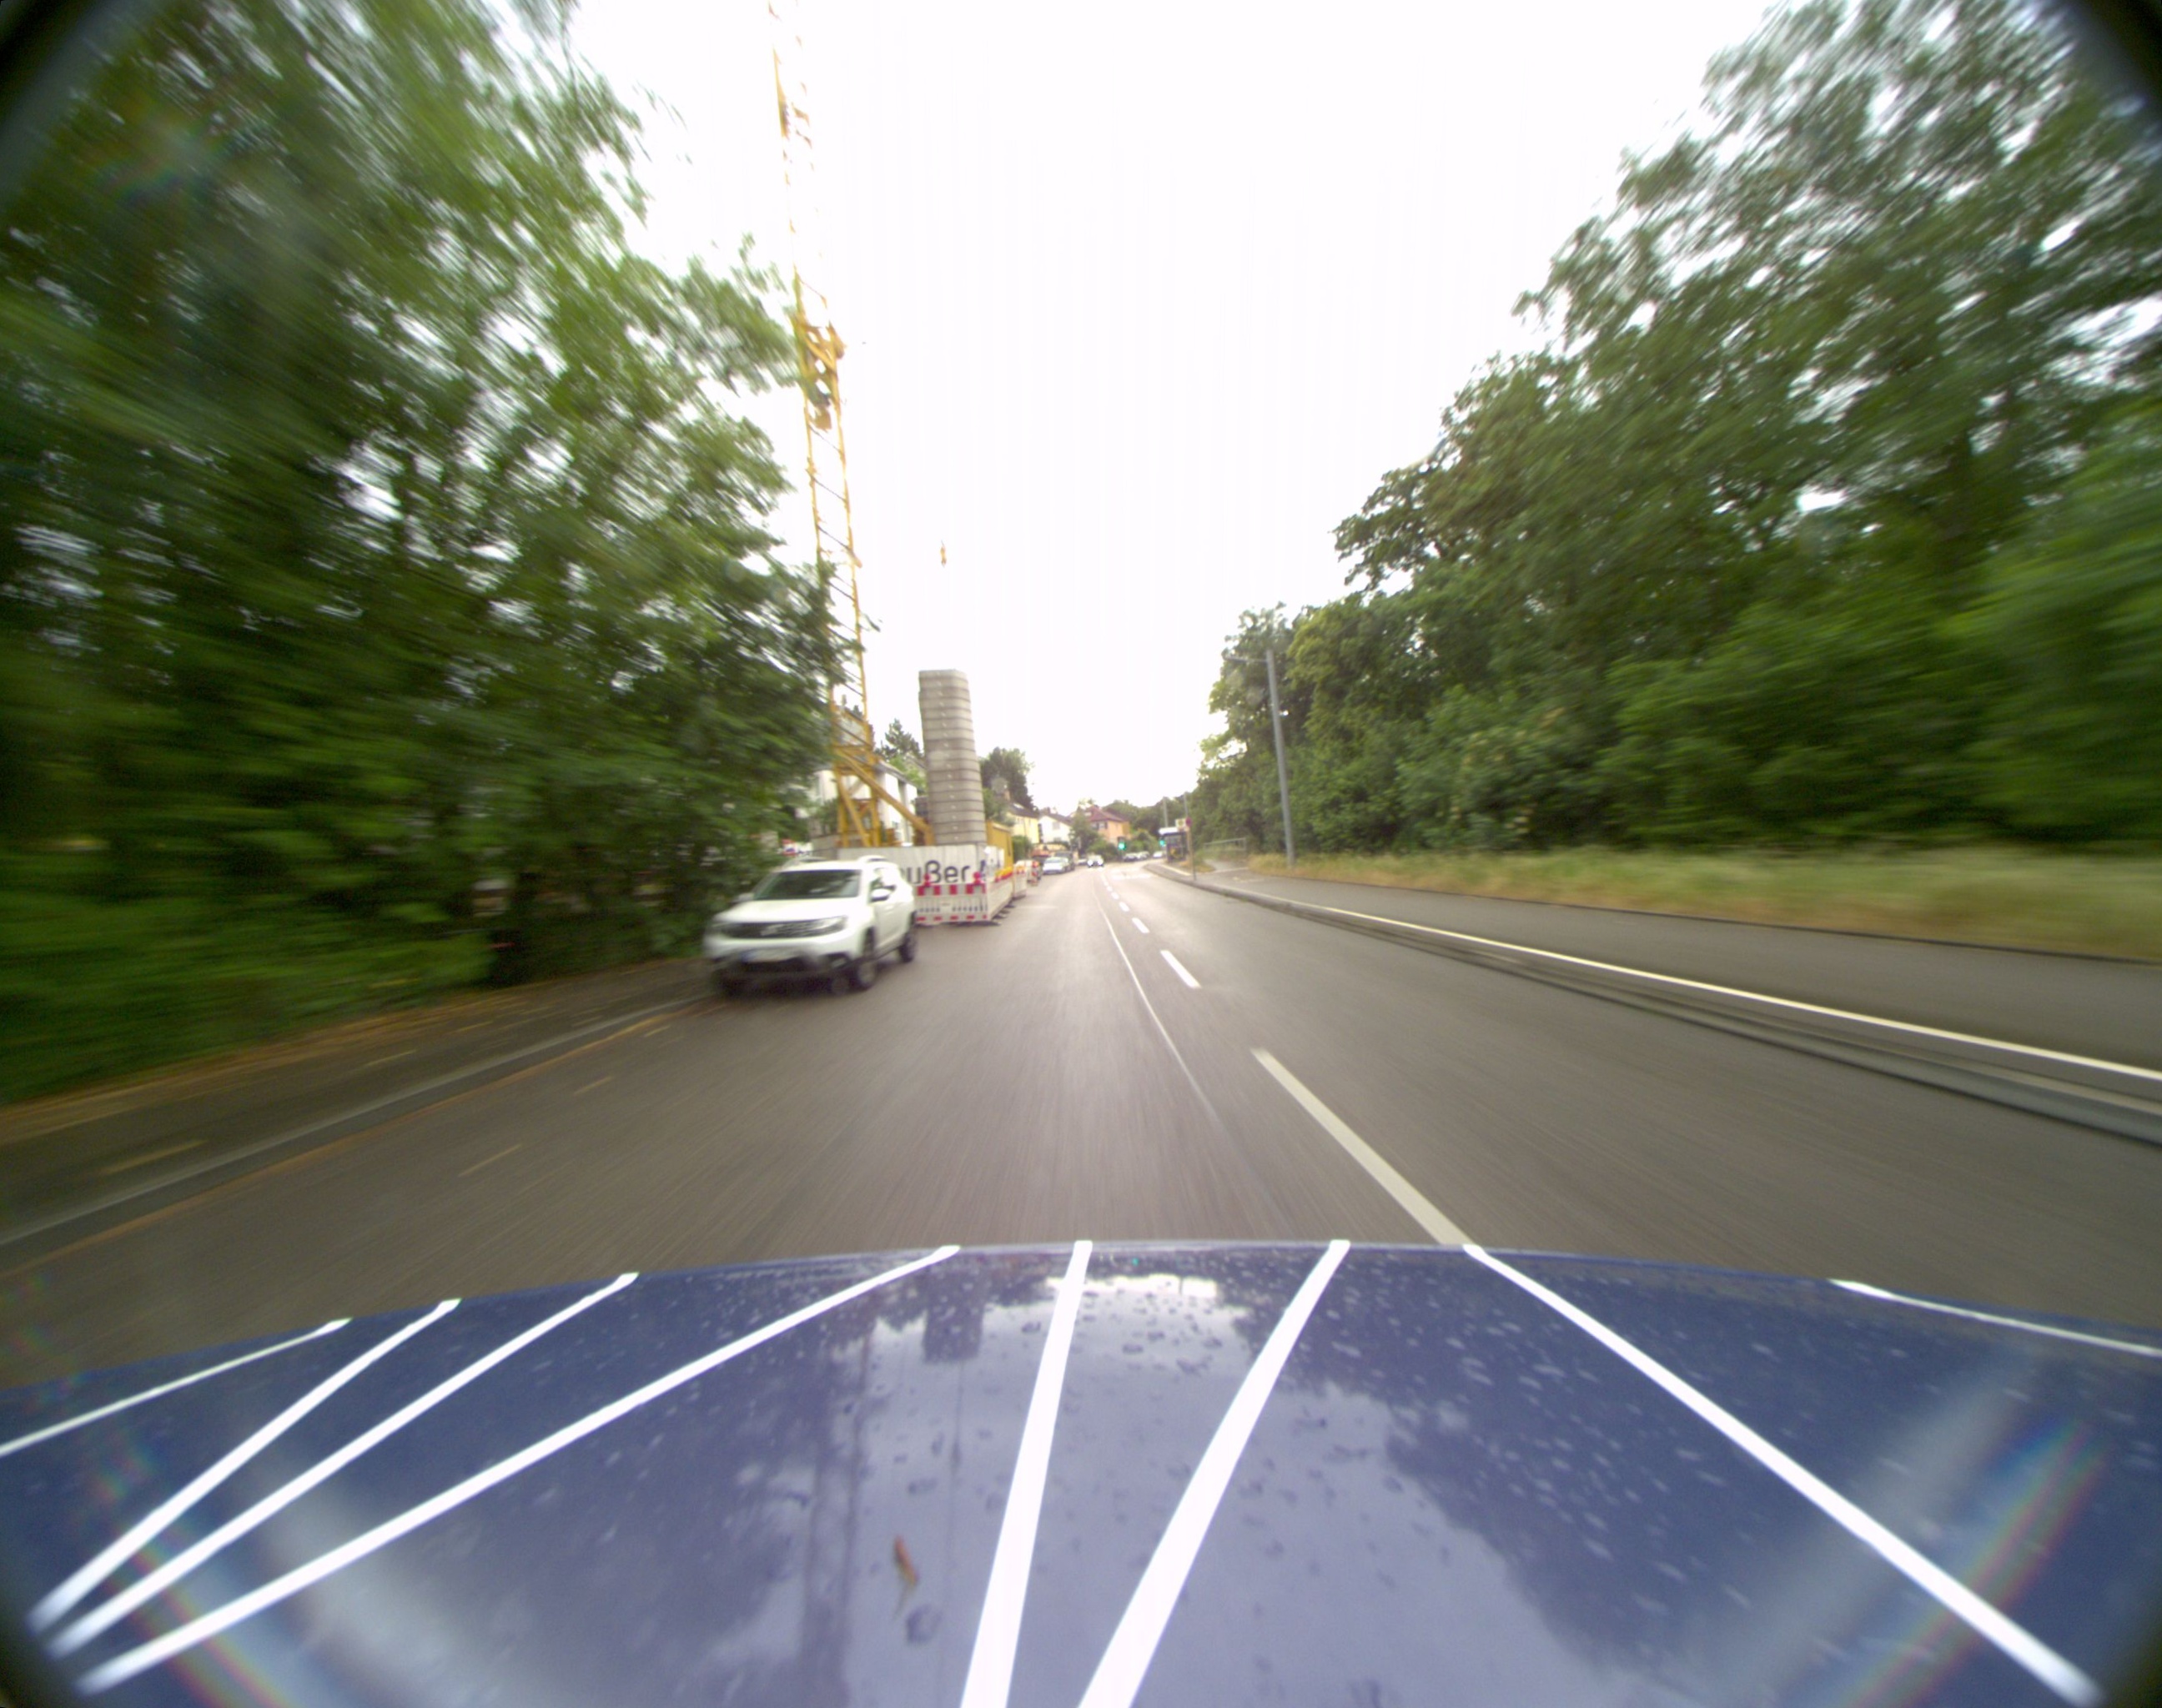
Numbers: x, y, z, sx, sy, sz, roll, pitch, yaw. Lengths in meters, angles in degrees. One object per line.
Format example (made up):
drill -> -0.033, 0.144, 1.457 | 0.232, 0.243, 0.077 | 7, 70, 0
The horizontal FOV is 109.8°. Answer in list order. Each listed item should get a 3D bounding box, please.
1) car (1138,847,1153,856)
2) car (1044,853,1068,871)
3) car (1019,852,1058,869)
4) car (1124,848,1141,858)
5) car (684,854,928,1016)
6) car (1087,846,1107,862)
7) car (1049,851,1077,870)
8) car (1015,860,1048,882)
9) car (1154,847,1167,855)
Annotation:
car -> 11.733, -0.442, 137.165 | 1.732, 1.558, 4.526 | -4, 0, 16
car -> -2.162, 0.706, 67.475 | 1.676, 1.449, 3.386 | -4, 0, 5
car -> -5.276, 0.798, 94.875 | 4.337, 1.586, 1.993 | -7, 0, 8
car -> 8.570, -0.140, 126.228 | 1.754, 1.435, 4.604 | -5, 1, 16
car -> -3.477, 0.890, 10.609 | 1.749, 1.696, 4.501 | -3, 0, -1
car -> 1.933, -0.010, 88.125 | 1.998, 1.714, 4.001 | -4, 0, 4
car -> -1.714, 0.587, 72.219 | 1.935, 1.587, 4.396 | -2, 1, 7
car -> -3.426, 1.168, 53.742 | 1.937, 1.414, 4.837 | -3, 0, 0
car -> 15.996, -0.625, 152.825 | 1.815, 1.390, 4.106 | -5, 1, 17
